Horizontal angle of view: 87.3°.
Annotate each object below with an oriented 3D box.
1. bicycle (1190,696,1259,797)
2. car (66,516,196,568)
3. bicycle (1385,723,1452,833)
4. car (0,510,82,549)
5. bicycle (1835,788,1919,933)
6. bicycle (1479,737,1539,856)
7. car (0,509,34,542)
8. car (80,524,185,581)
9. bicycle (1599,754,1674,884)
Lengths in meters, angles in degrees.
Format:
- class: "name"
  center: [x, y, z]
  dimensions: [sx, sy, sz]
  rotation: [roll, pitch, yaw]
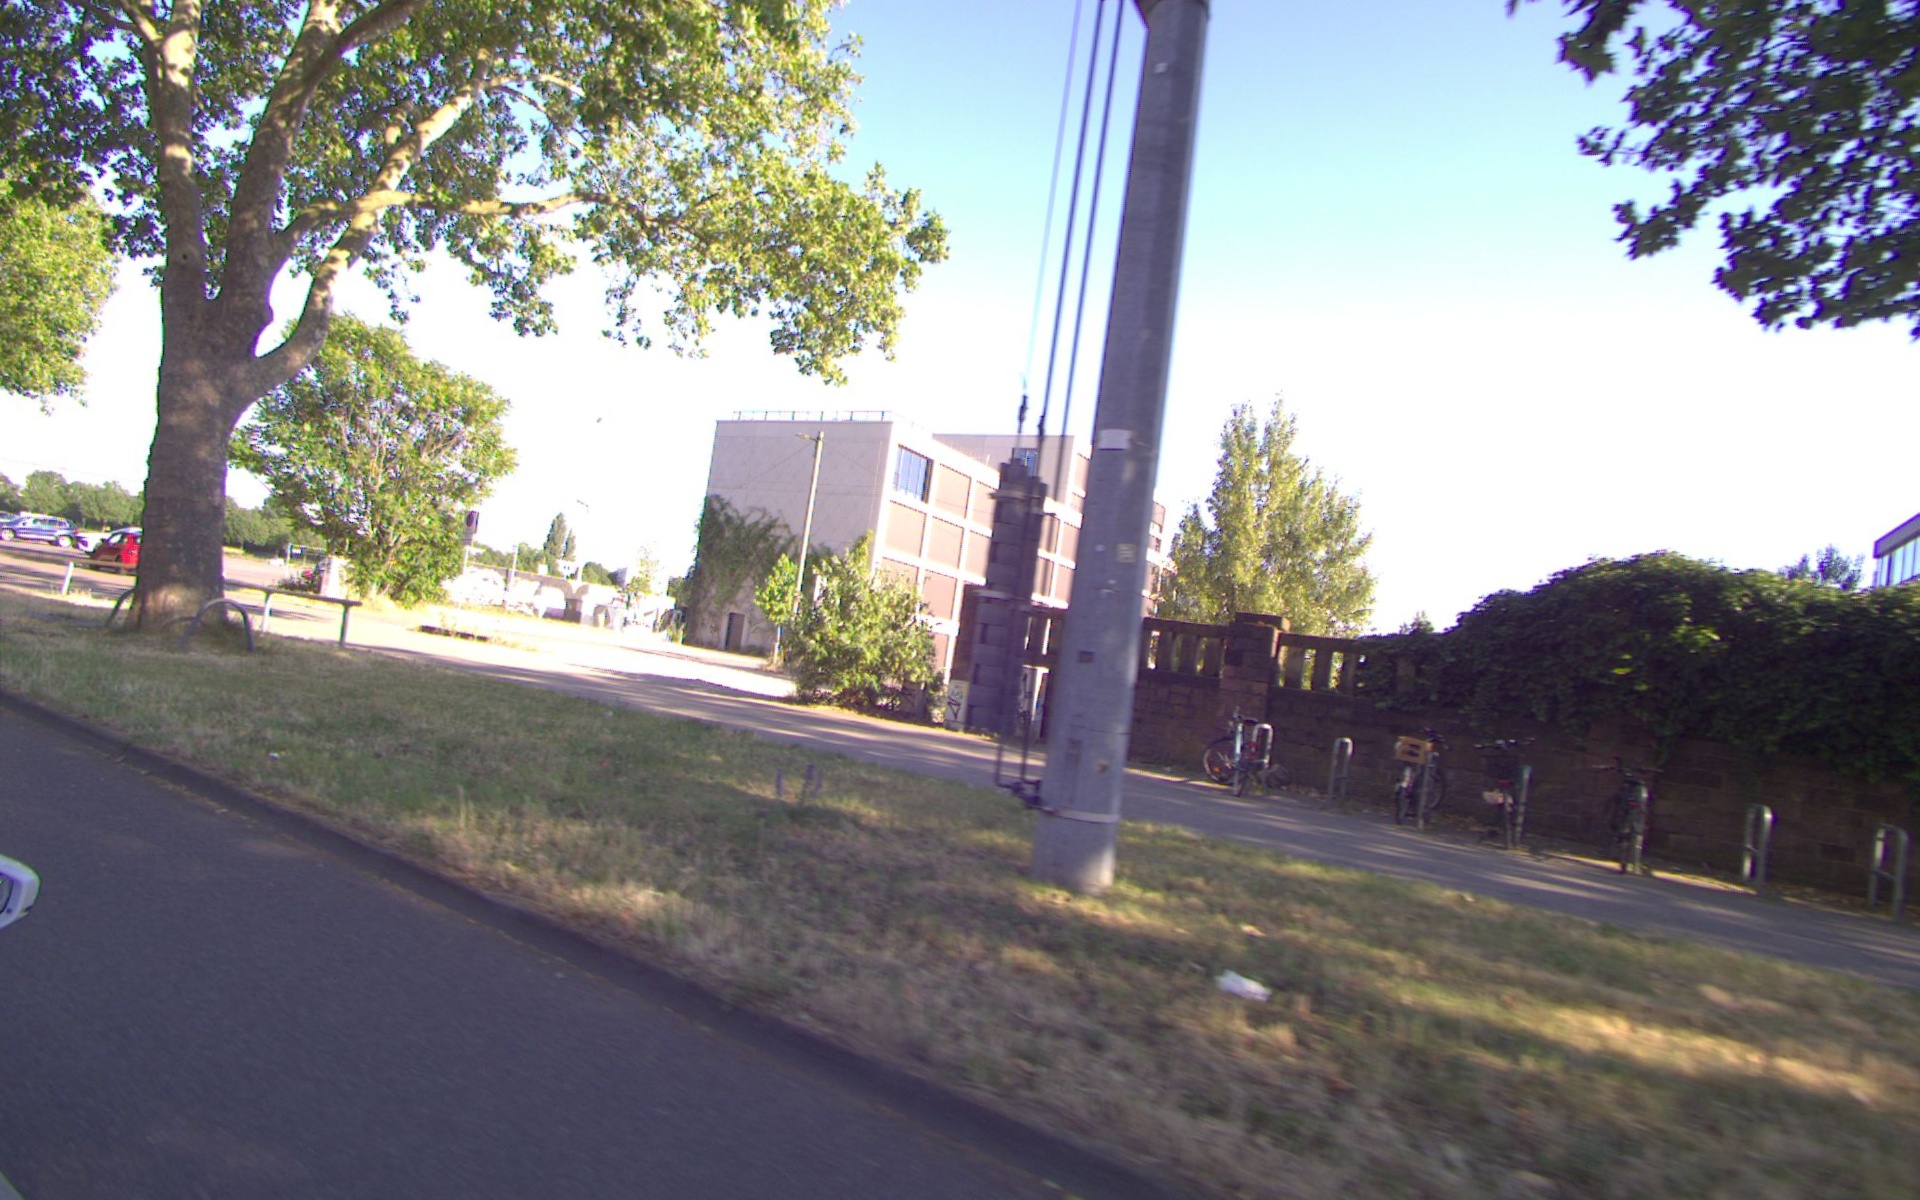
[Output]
- class: "bicycle"
  center: [3.372, 1.806, 12.721]
  dimensions: [0.431, 1.133, 1.779]
  rotation: [7, -2, 24]
- class: "car"
  center: [-40.718, -2.834, 49.491]
  dimensions: [1.888, 1.676, 4.466]
  rotation: [6, -4, 36]
- class: "bicycle"
  center: [5.460, 2.063, 11.922]
  dimensions: [0.432, 1.133, 1.777]
  rotation: [7, -2, 31]
- class: "car"
  center: [-54.214, -4.148, 58.881]
  dimensions: [1.642, 1.626, 3.822]
  rotation: [7, -4, 32]
- class: "bicycle"
  center: [8.964, 2.460, 9.647]
  dimensions: [0.432, 1.133, 1.777]
  rotation: [7, -2, 31]
- class: "bicycle"
  center: [6.146, 2.136, 11.226]
  dimensions: [0.432, 1.133, 1.777]
  rotation: [7, -2, 31]
- class: "car"
  center: [-61.051, -4.954, 62.655]
  dimensions: [1.965, 1.835, 4.367]
  rotation: [7, -3, 28]
- class: "car"
  center: [-29.460, -1.708, 35.806]
  dimensions: [3.740, 1.532, 1.618]
  rotation: [7, -3, 32]
- class: "bicycle"
  center: [7.108, 2.253, 10.615]
  dimensions: [0.432, 1.133, 1.777]
  rotation: [7, -2, 31]
